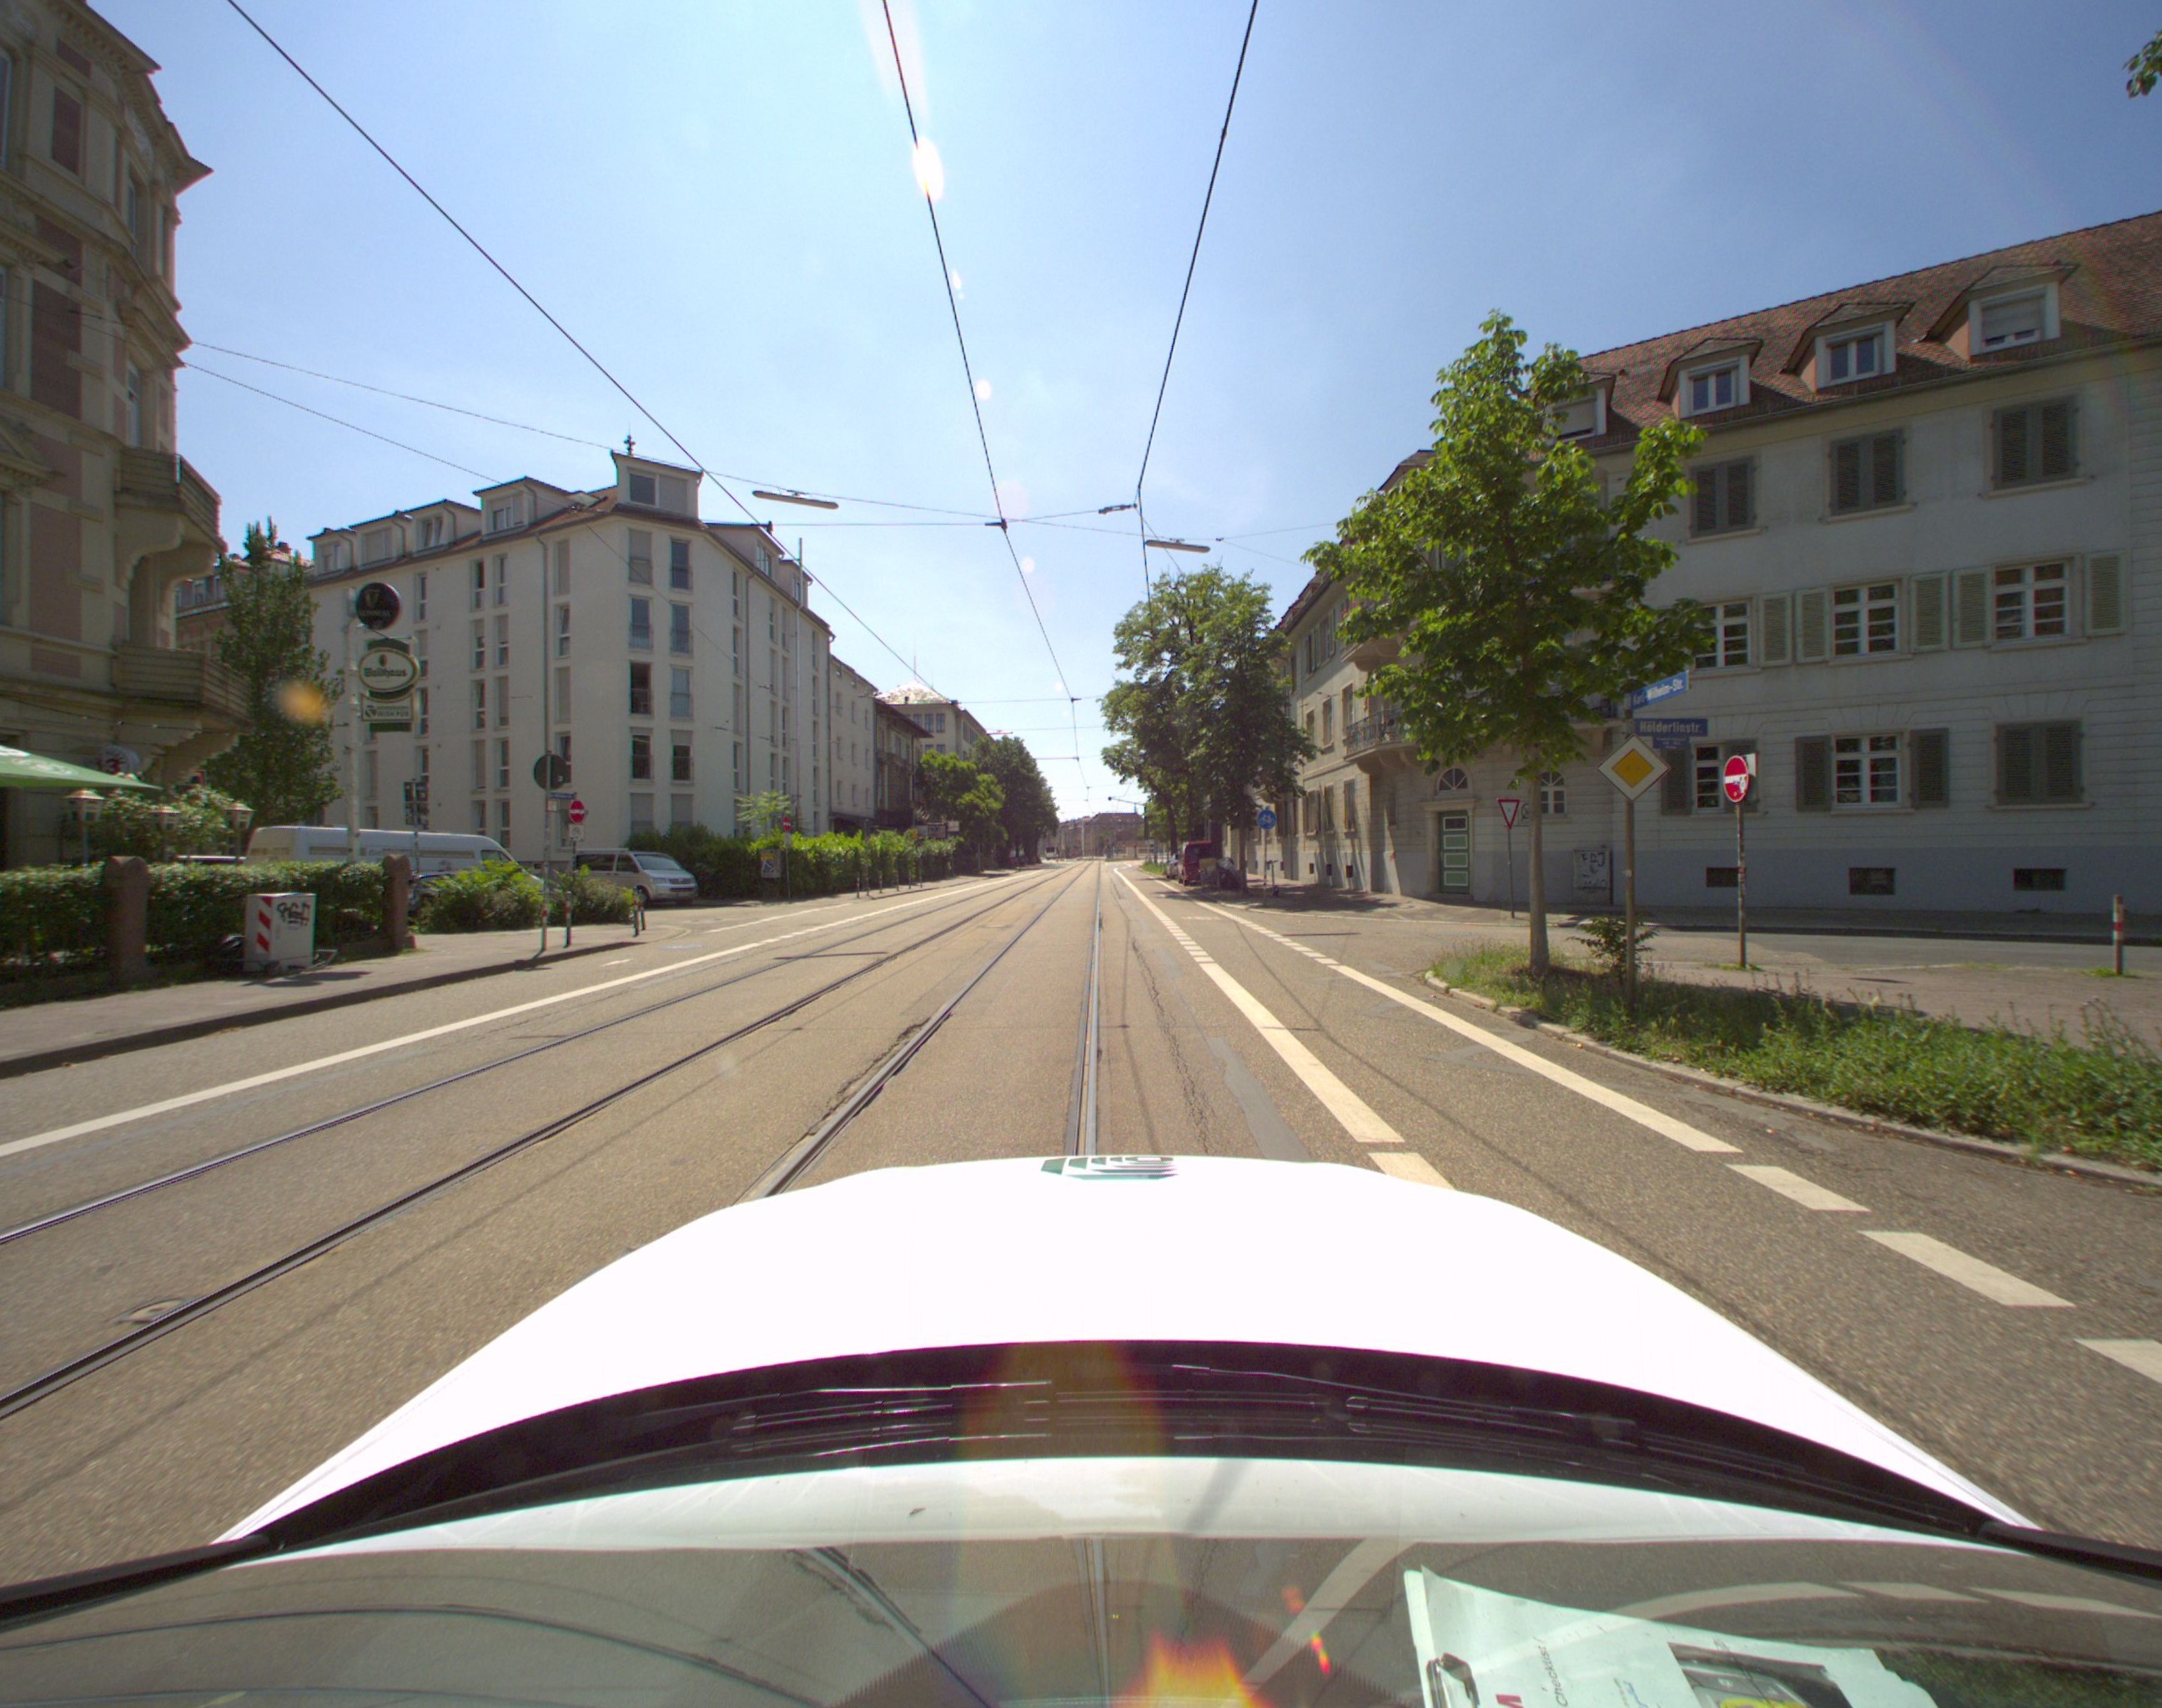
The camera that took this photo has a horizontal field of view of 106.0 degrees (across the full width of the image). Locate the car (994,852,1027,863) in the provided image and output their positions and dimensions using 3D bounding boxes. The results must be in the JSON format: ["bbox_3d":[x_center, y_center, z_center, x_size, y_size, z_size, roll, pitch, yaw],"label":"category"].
[{"bbox_3d":[-9.397,0.508,108.525,3.940,1.374,1.656,-1,0,-25],"label":"car"}]

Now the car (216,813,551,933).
[{"bbox_3d":[-17.280,0.414,20.777,2.101,2.590,6.221,-1,0,20],"label":"car"}]

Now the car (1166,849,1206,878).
[{"bbox_3d":[5.922,0.546,46.388,1.852,1.577,4.880,0,-1,3],"label":"car"}]

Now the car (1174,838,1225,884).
[{"bbox_3d":[5.552,0.322,38.656,1.852,2.013,4.978,0,0,2],"label":"car"}]

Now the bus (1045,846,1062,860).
[{"bbox_3d":[-6.698,-0.283,199.949,2.998,3.158,17.506,-1,0,2],"label":"bus"}]

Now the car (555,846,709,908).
[{"bbox_3d":[-15.518,0.757,28.177,4.649,1.984,2.168,-1,0,22],"label":"car"}]

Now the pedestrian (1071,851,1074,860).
[{"bbox_3d":[-1.946,0.338,190.969,0.672,1.909,0.639,-1,0,-8],"label":"pedestrian"}]

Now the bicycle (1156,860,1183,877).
[{"bbox_3d":[5.633,0.932,51.685,1.651,1.016,0.371,-1,-2,1],"label":"bicycle"}]

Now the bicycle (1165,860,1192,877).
[{"bbox_3d":[6.061,0.907,50.722,1.651,1.015,0.372,0,0,1],"label":"bicycle"}]

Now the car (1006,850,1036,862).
[{"bbox_3d":[-7.536,0.227,101.994,3.357,1.516,1.656,0,0,-25],"label":"car"}]

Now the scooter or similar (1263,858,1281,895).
[{"bbox_3d":[6.272,0.732,26.832,0.294,1.161,1.252,0,0,0],"label":"scooter or similar"}]

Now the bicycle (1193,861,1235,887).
[{"bbox_3d":[5.657,0.846,34.648,1.694,1.021,0.364,-1,-1,-5],"label":"bicycle"}]
